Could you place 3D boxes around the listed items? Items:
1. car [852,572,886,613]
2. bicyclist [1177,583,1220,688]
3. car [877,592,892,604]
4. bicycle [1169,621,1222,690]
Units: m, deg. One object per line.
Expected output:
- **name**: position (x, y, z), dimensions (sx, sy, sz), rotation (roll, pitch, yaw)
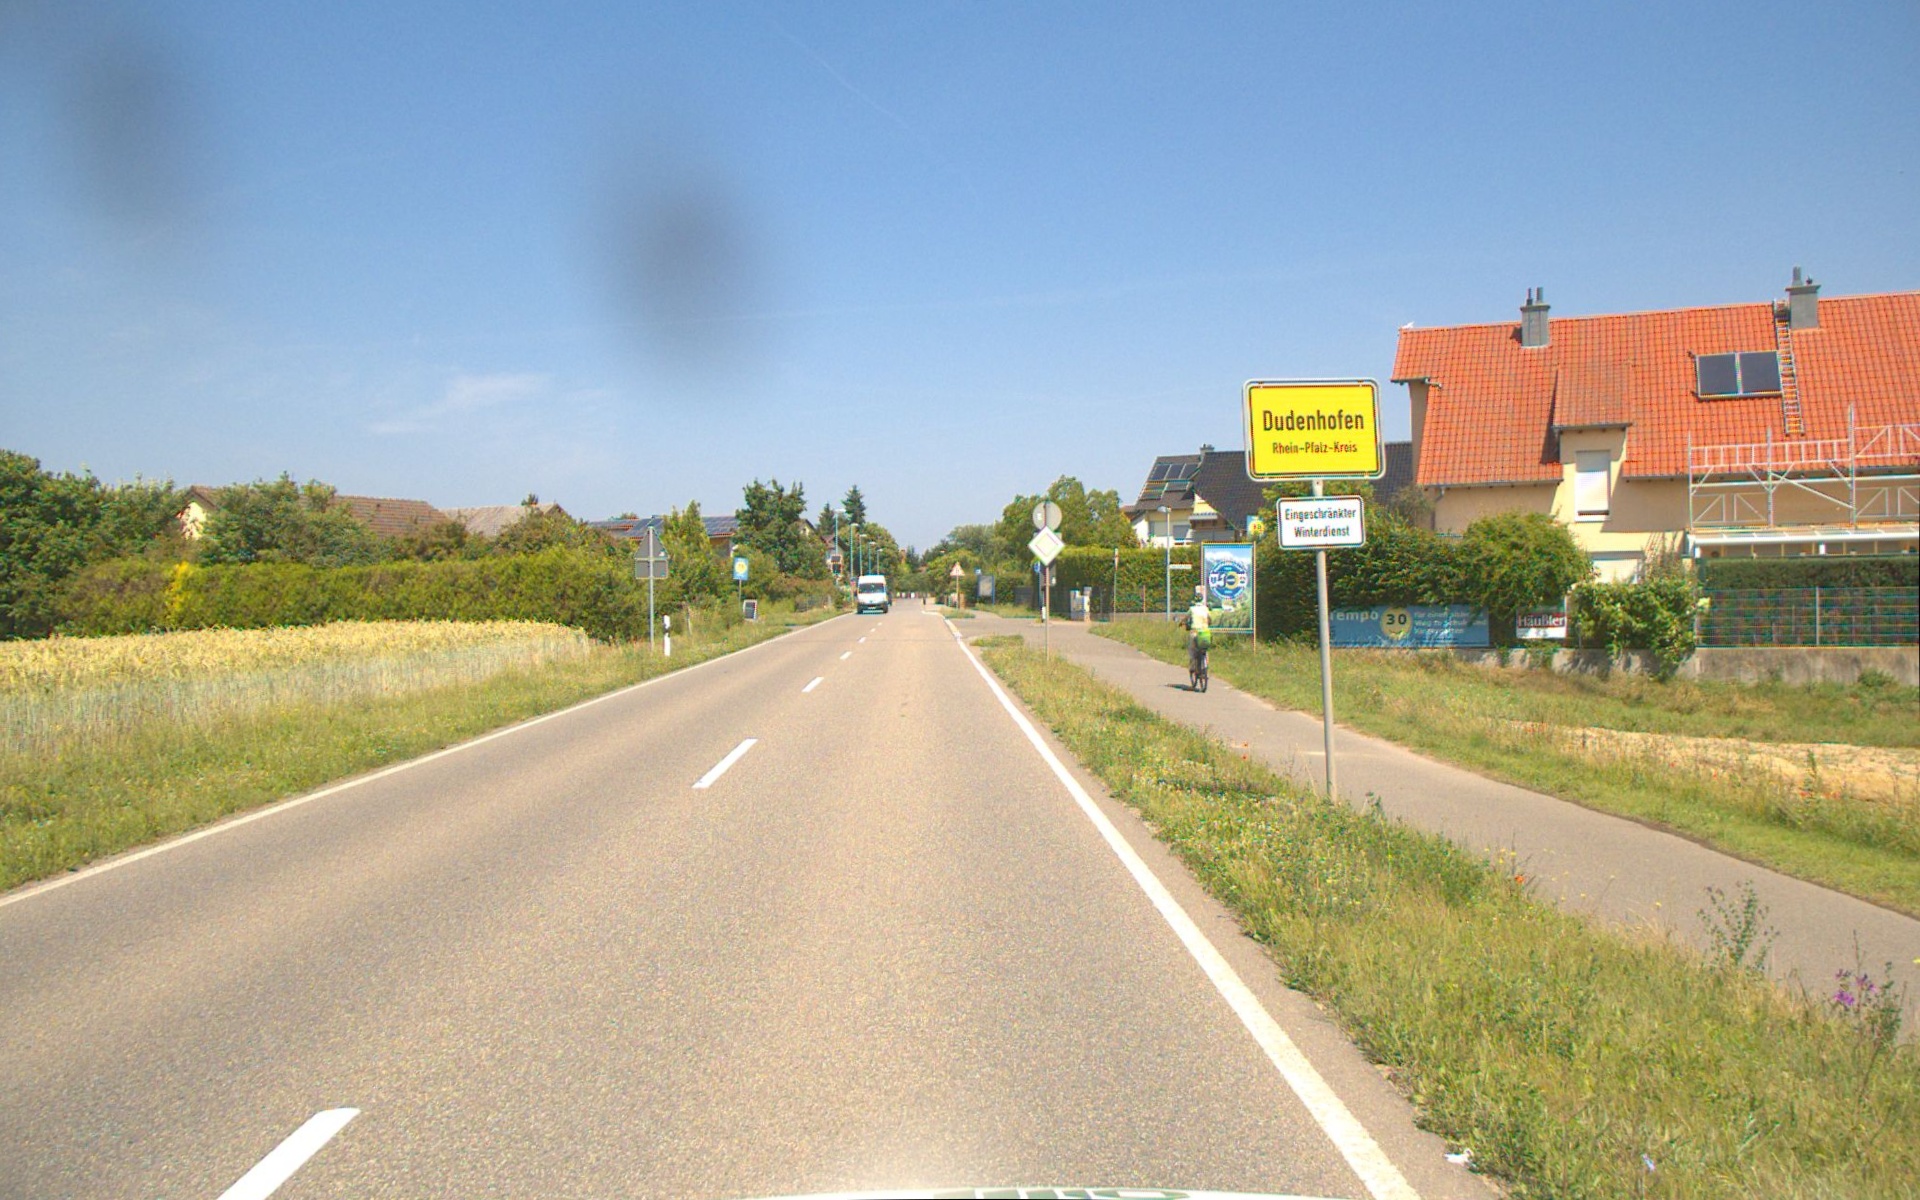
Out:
- **car**: position (-6.000, -0.521, 109.870), dimensions (2.035, 2.586, 5.871), rotation (-2, 1, -2)
- **bicyclist**: position (4.466, 0.659, 31.046), dimensions (0.632, 1.922, 0.860), rotation (1, 1, -2)
- **car**: position (-9.385, -0.261, 205.044), dimensions (1.724, 1.409, 3.451), rotation (-2, 0, -2)
- **bicycle**: position (4.450, 1.028, 31.349), dimensions (0.598, 1.179, 2.273), rotation (1, 1, -2)
